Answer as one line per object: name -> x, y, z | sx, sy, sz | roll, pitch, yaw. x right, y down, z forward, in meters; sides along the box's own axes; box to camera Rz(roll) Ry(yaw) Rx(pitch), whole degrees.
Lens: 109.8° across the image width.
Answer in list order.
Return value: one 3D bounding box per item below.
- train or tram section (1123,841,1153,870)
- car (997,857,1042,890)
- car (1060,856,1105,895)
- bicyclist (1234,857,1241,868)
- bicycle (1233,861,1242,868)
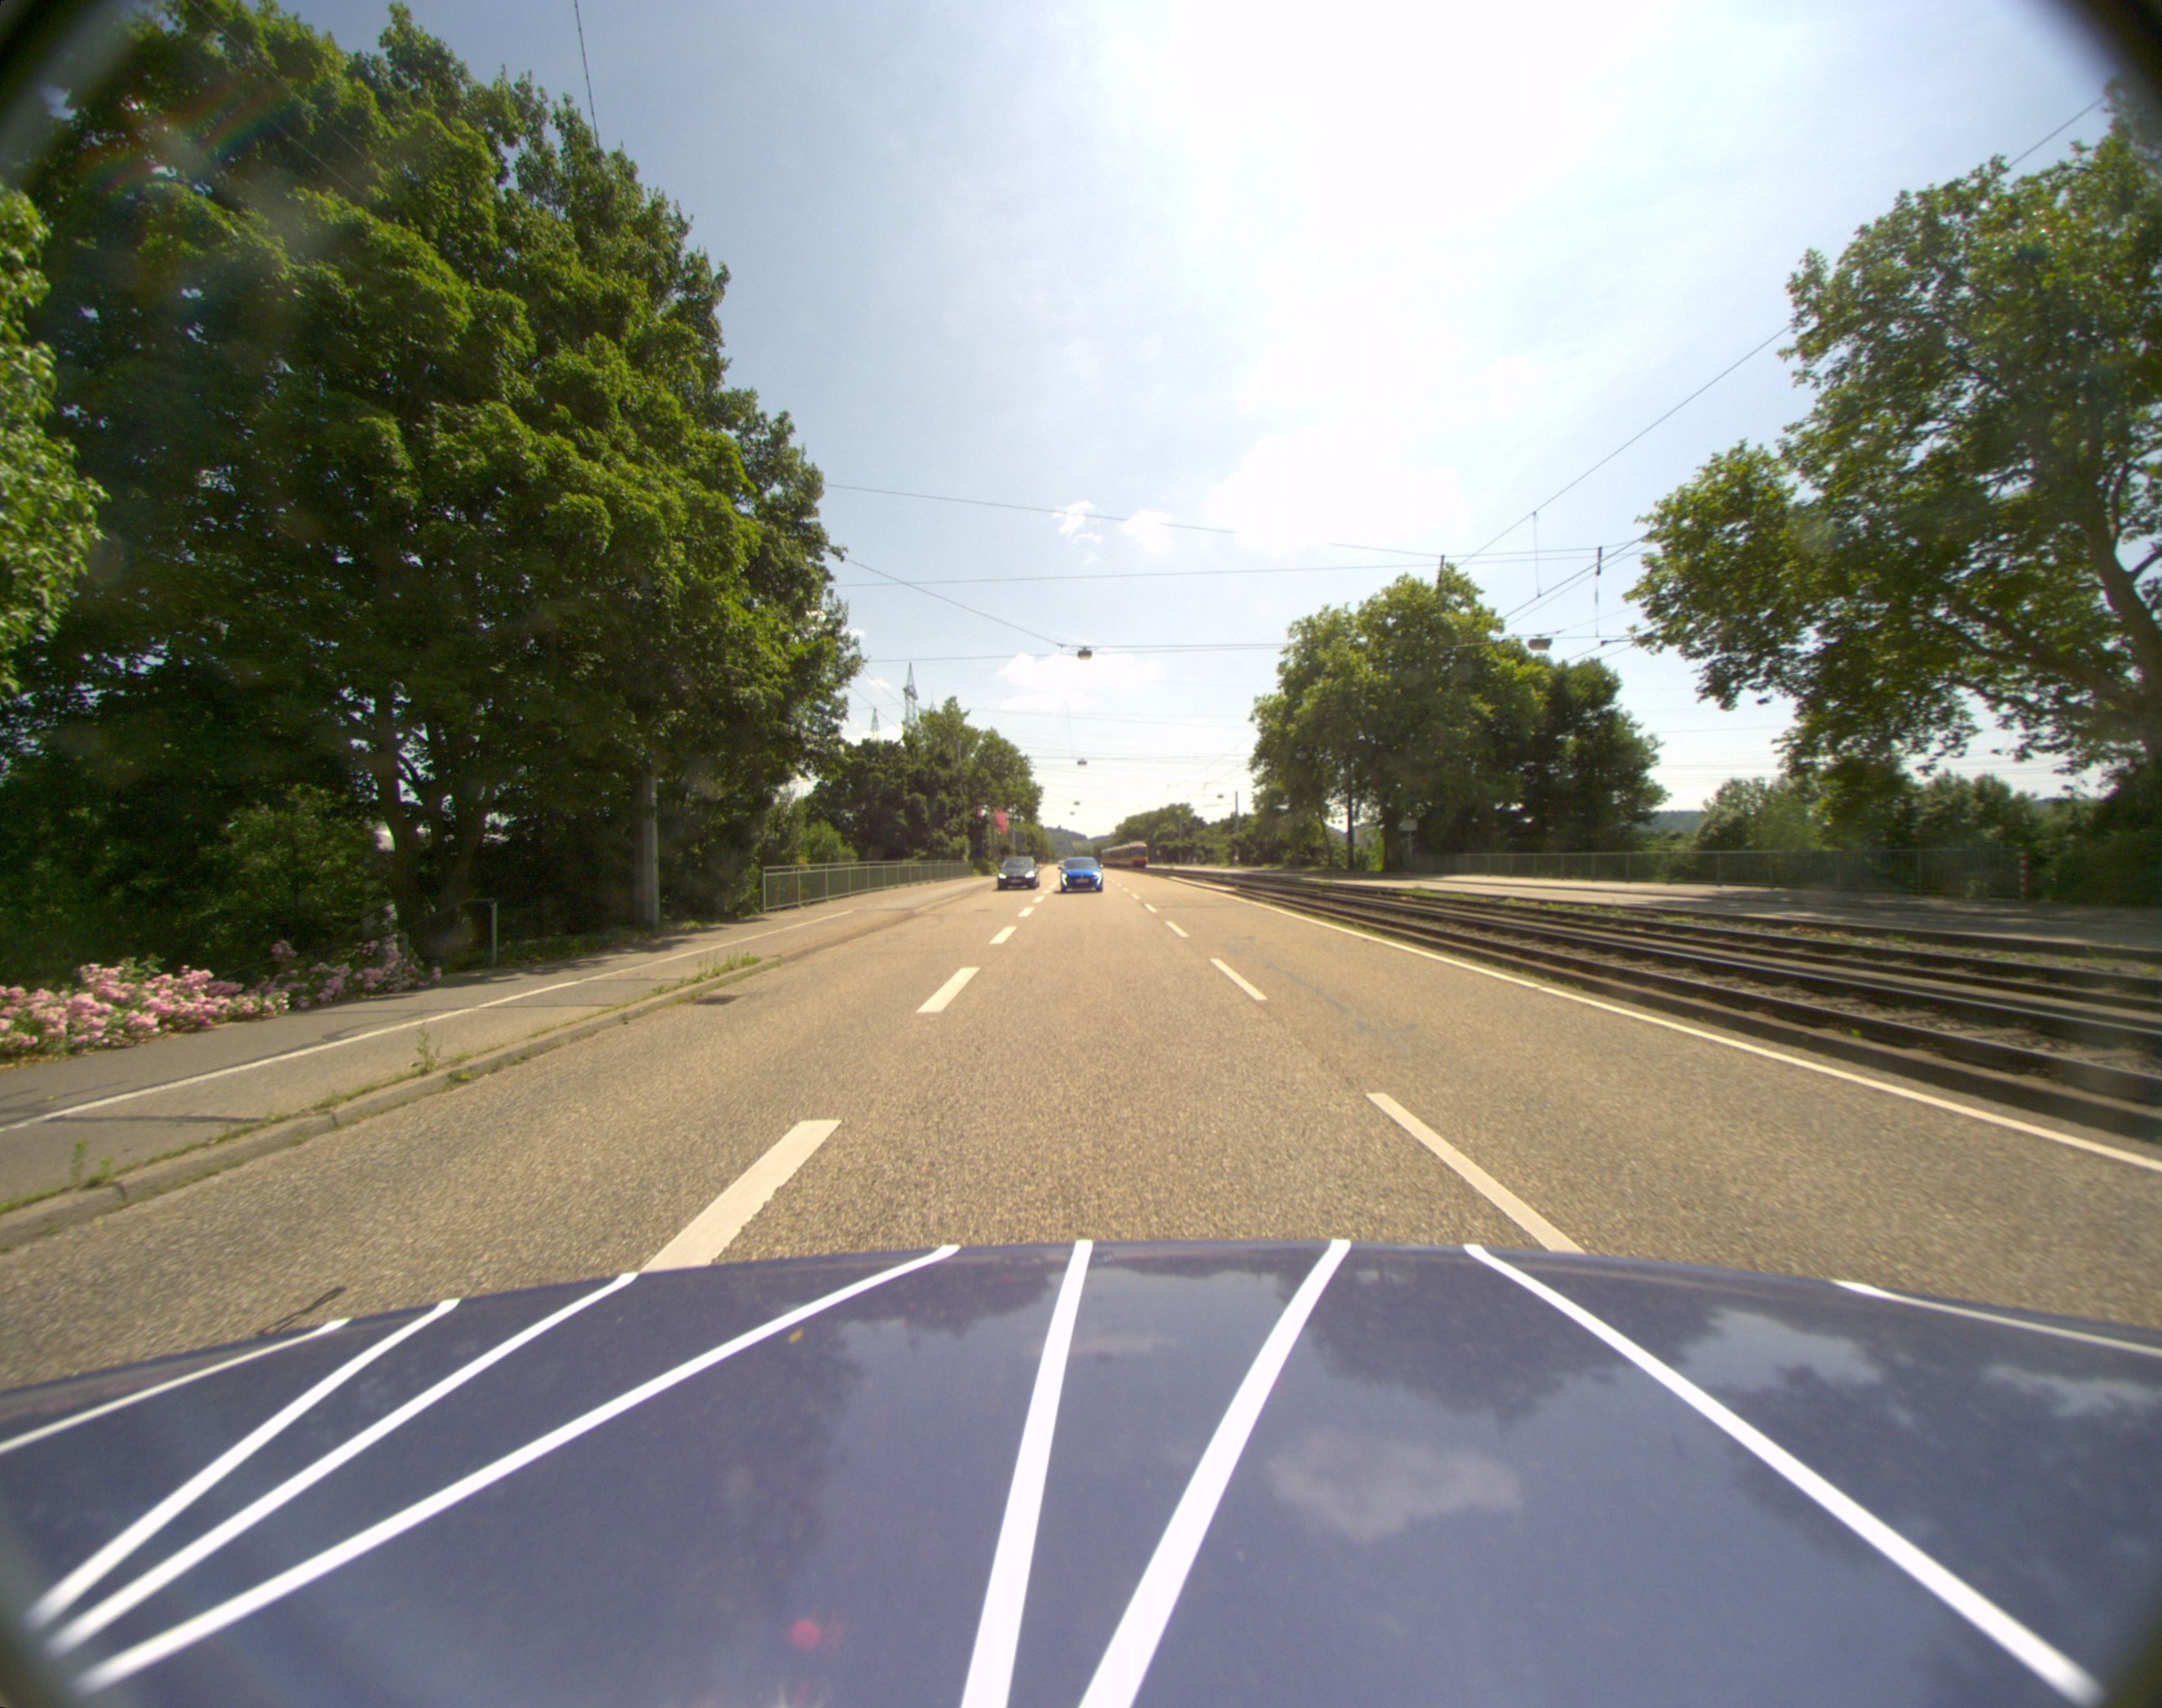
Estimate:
train or tram section -> 8.640, 0.246, 116.765 | 3.046, 4.116, 13.979 | 0, 0, -2
car -> -2.870, 0.910, 36.336 | 1.771, 1.422, 4.000 | -2, -1, 0
car -> 0.037, 0.879, 32.245 | 1.771, 1.463, 4.467 | -2, -1, -1
bicyclist -> 21.547, 1.137, 104.728 | 0.712, 1.475, 0.918 | -1, 0, -1
bicycle -> 21.580, 1.399, 104.704 | 0.712, 0.912, 2.183 | -1, 0, -1
